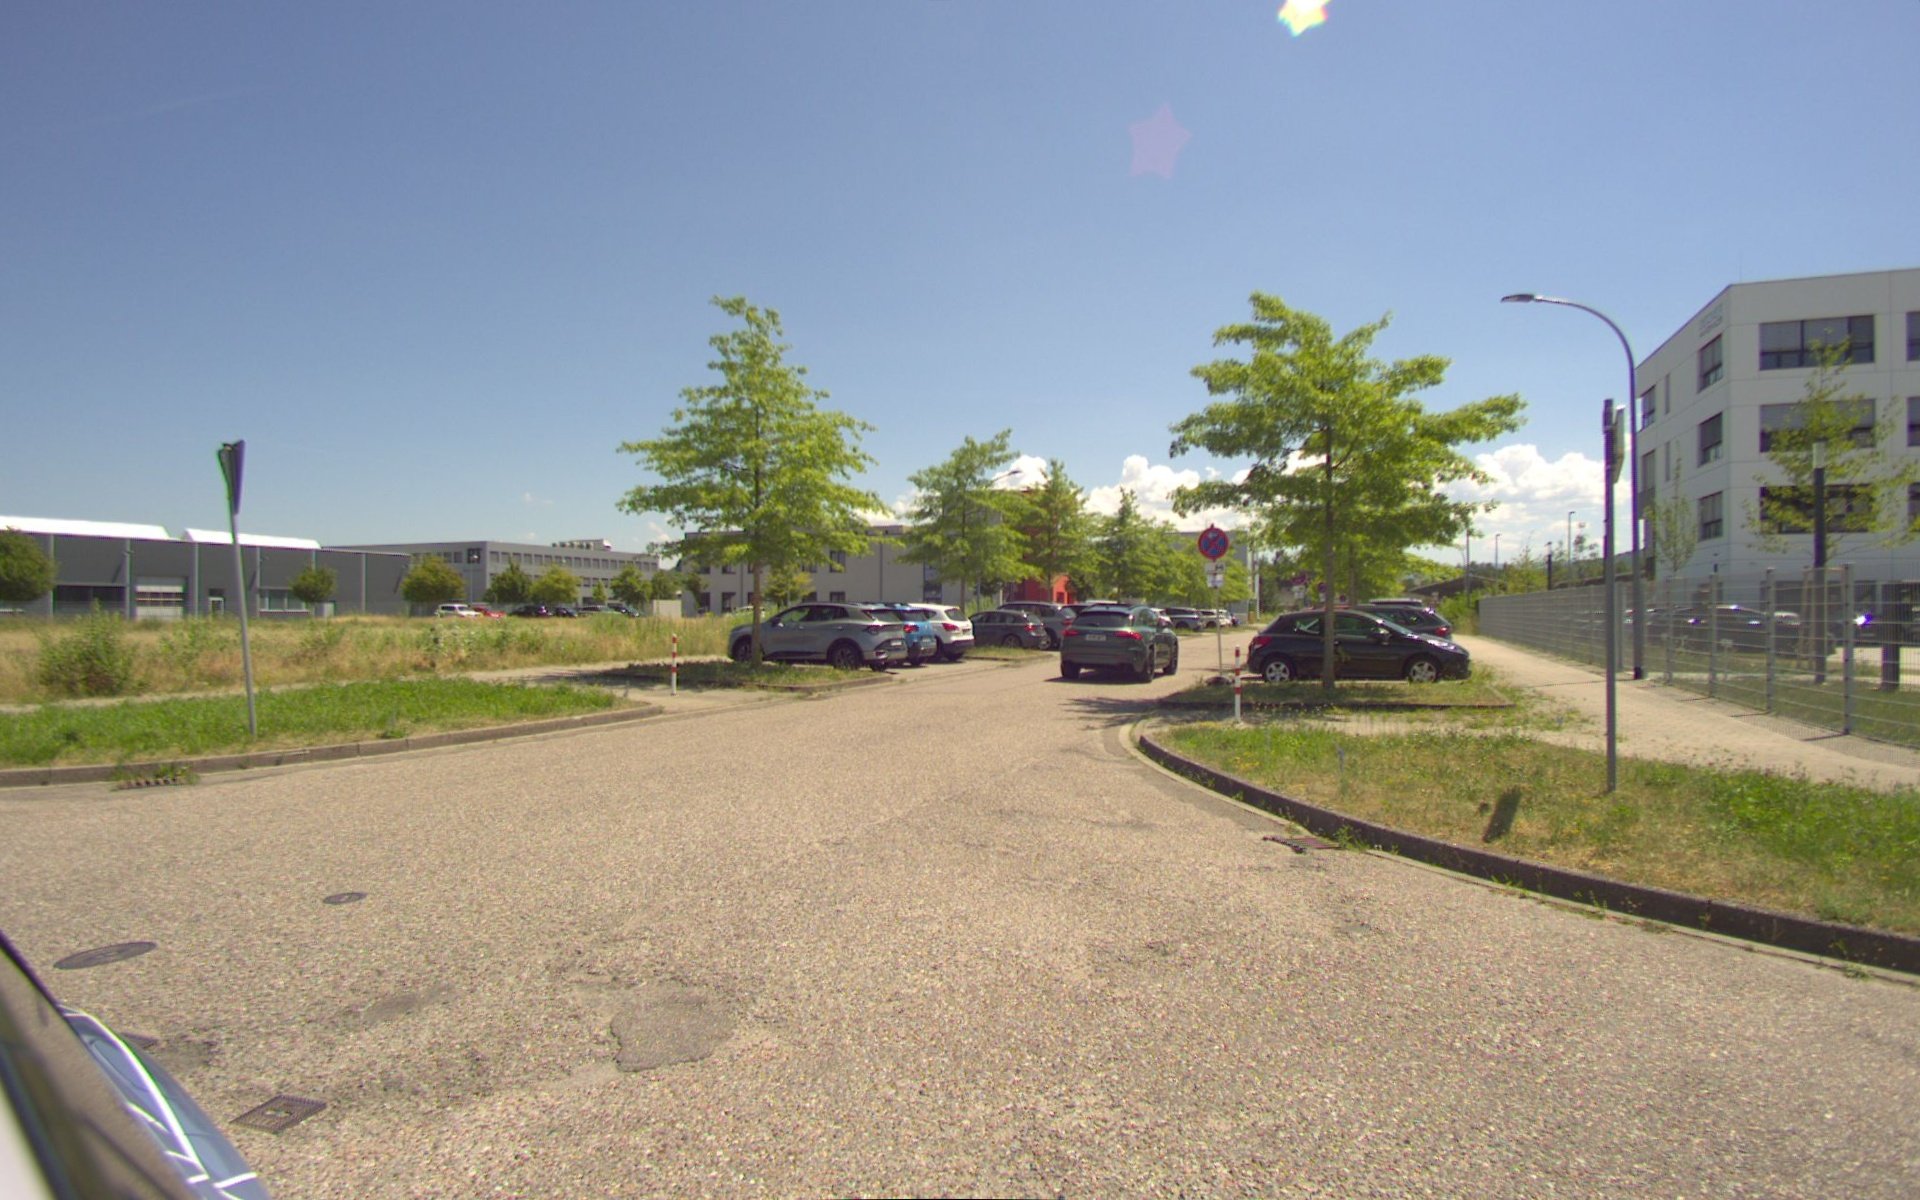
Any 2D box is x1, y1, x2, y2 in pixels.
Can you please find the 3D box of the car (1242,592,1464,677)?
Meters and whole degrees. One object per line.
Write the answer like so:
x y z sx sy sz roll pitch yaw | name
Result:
7.477 0.680 19.362 3.777 1.487 1.598 -2 -2 25 | car

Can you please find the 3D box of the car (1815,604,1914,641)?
38.833 0.972 43.563 1.764 1.523 4.076 -1 -1 21 | car

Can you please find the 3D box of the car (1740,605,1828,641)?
36.362 1.025 44.772 1.764 1.523 4.076 -1 -1 21 | car

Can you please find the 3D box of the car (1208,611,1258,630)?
24.948 1.834 92.357 4.179 1.710 1.942 0 0 24 | car

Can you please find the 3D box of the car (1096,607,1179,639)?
9.838 1.248 56.109 4.179 1.710 1.942 0 0 24 | car

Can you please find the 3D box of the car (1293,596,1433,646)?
13.041 0.706 32.864 4.088 1.487 1.599 -2 -2 23 | car

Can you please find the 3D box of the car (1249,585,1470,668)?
8.518 0.606 21.735 4.229 1.633 1.598 -2 -2 25 | car

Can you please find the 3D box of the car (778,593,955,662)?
-2.469 0.688 26.643 4.282 1.710 1.942 0 0 24 | car

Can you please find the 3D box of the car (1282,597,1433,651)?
11.890 0.731 30.440 4.088 1.487 1.599 -2 -2 23 | car

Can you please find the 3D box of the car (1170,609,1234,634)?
17.371 1.510 72.539 4.179 1.710 1.942 0 0 24 | car

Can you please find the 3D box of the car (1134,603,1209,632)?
12.873 1.034 61.682 4.179 1.710 1.942 0 0 24 | car

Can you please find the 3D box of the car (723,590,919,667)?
-3.307 0.637 24.072 4.282 1.710 1.942 0 0 24 | car

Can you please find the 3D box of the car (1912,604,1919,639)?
41.531 0.882 41.793 1.764 1.523 4.076 -1 -1 21 | car

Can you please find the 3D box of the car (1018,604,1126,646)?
4.725 1.017 42.757 4.179 1.710 1.942 0 0 24 | car

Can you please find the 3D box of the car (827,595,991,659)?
-1.455 0.723 28.824 4.282 1.710 1.942 0 0 24 | car

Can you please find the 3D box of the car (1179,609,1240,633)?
18.744 1.548 75.975 4.179 1.710 1.942 0 0 24 | car

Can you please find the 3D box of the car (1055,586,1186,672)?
3.797 0.634 23.169 1.986 1.706 4.603 1 -1 22 | car

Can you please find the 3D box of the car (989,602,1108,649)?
3.418 0.948 38.936 4.179 1.710 1.942 0 0 24 | car

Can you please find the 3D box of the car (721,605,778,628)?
-16.496 1.323 79.373 3.972 1.763 1.986 0 -1 22 | car

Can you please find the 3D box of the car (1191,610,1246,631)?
21.693 1.714 84.964 4.179 1.710 1.942 0 0 24 | car

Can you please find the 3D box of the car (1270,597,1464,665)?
9.562 0.753 23.976 4.088 1.487 1.599 -2 -2 23 | car

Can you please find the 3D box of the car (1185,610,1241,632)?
20.703 1.682 82.898 4.179 1.710 1.942 0 0 24 | car

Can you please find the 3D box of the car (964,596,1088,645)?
2.429 0.715 37.144 4.179 1.710 1.942 0 0 24 | car

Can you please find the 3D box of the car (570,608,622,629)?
-31.652 1.612 88.045 3.970 1.763 1.987 0 -1 20 | car

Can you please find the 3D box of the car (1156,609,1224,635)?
15.488 1.435 68.013 4.179 1.710 1.942 0 0 24 | car

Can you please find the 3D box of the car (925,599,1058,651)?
1.088 0.824 34.963 4.179 1.710 1.942 0 0 24 | car

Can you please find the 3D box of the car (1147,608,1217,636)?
14.418 1.399 65.759 4.179 1.710 1.942 0 0 24 | car

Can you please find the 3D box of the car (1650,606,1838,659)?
23.401 0.954 30.395 4.077 1.523 1.763 -1 -1 22 | car
